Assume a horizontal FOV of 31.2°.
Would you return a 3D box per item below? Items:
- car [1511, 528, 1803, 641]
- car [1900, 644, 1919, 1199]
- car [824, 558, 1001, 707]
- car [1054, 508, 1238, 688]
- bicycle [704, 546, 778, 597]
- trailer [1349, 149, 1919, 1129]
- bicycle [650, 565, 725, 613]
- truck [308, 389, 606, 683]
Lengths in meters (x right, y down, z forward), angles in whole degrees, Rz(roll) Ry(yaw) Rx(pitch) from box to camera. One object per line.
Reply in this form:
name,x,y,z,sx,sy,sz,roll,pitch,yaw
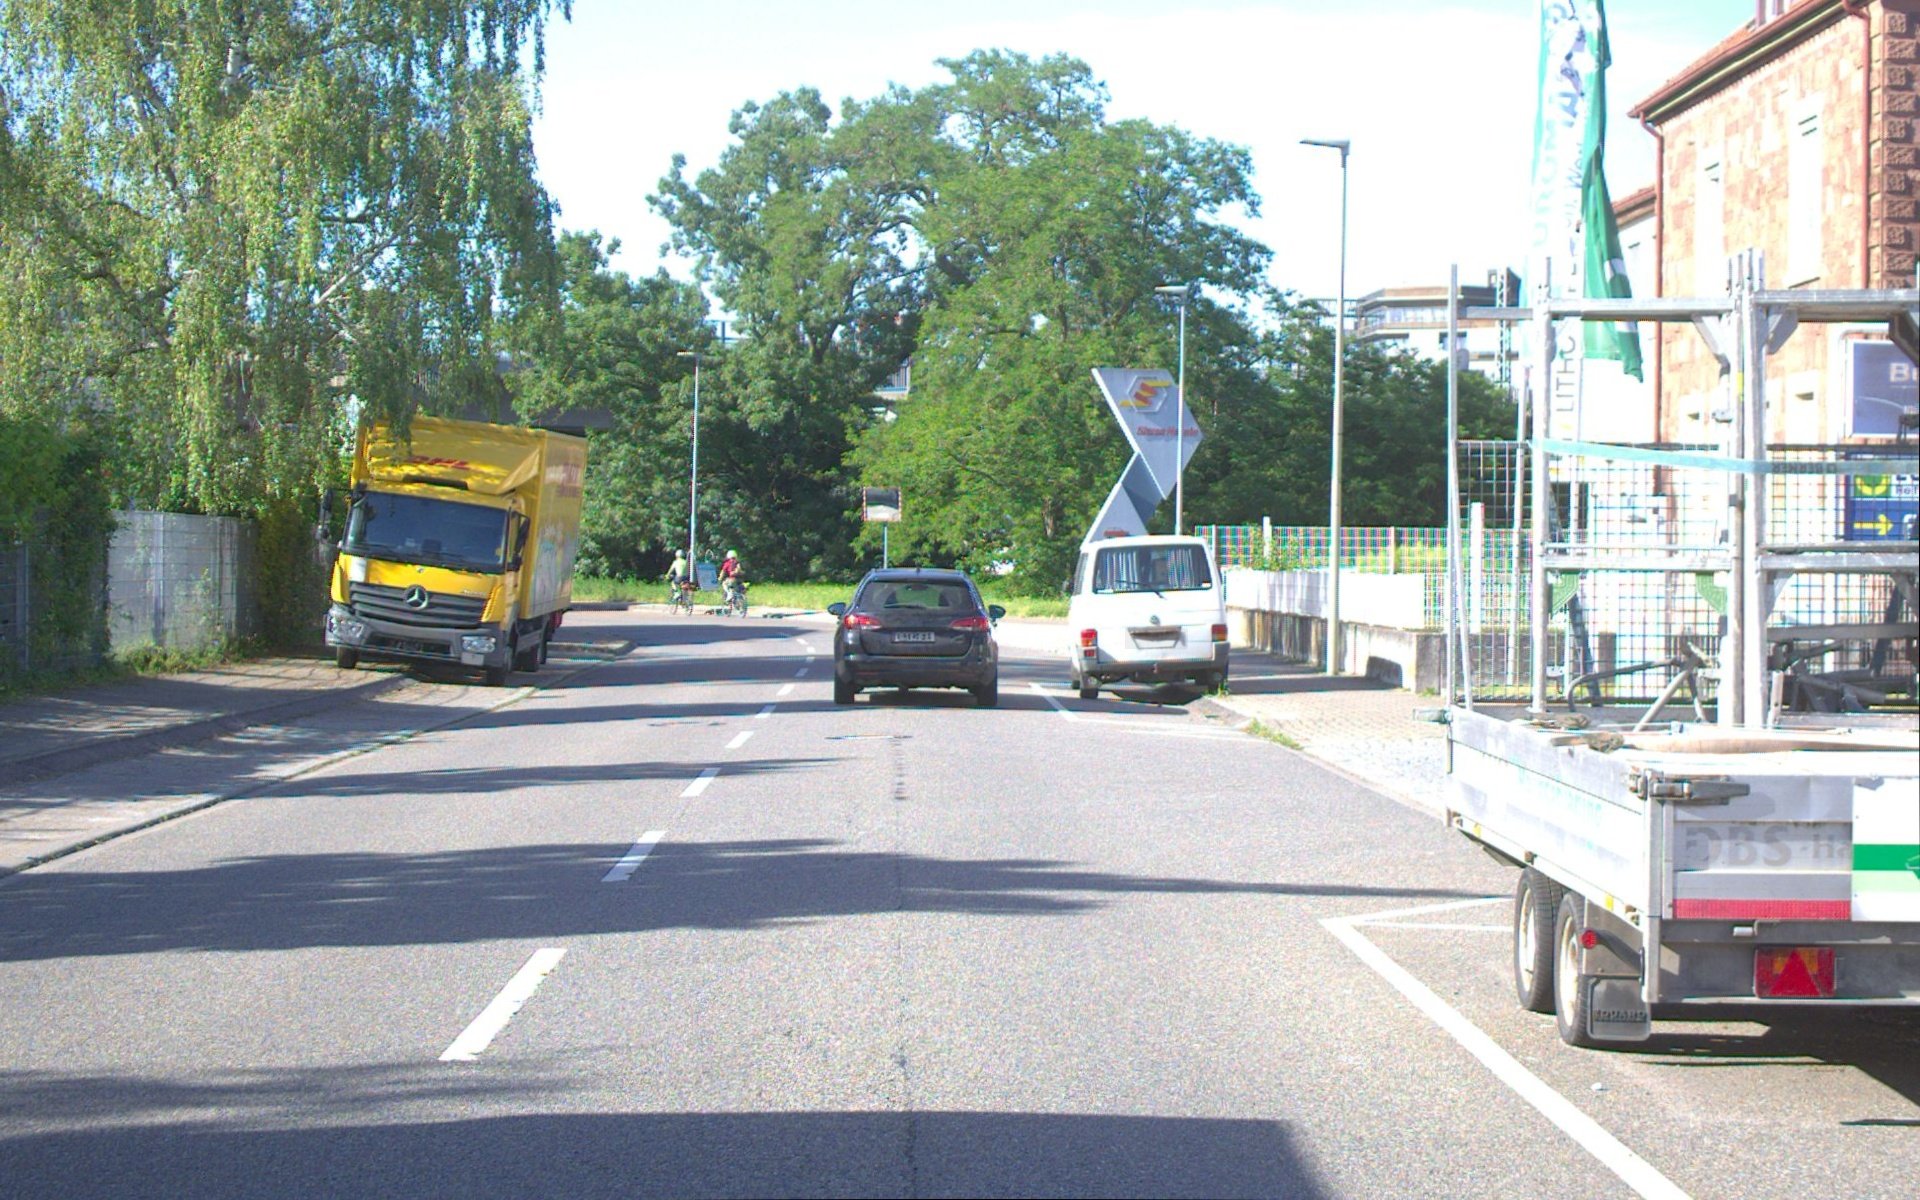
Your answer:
car,12.849,-0.318,63.623,1.875,2.007,5.157,-1,1,-44
car,3.111,0.696,5.183,1.994,1.661,4.731,2,0,-1
car,-0.494,0.319,37.913,1.847,1.525,4.000,0,1,0
car,2.222,-0.044,42.278,1.874,2.007,5.160,2,0,0
bicycle,-5.699,-0.739,89.241,0.803,1.263,2.258,2,0,-35
trailer,2.994,0.076,12.228,2.460,2.663,5.702,0,1,-1
bicycle,-7.330,-0.298,92.439,0.804,1.217,2.258,2,0,-40
truck,-6.884,-0.966,48.318,2.631,3.493,8.657,6,2,-1
